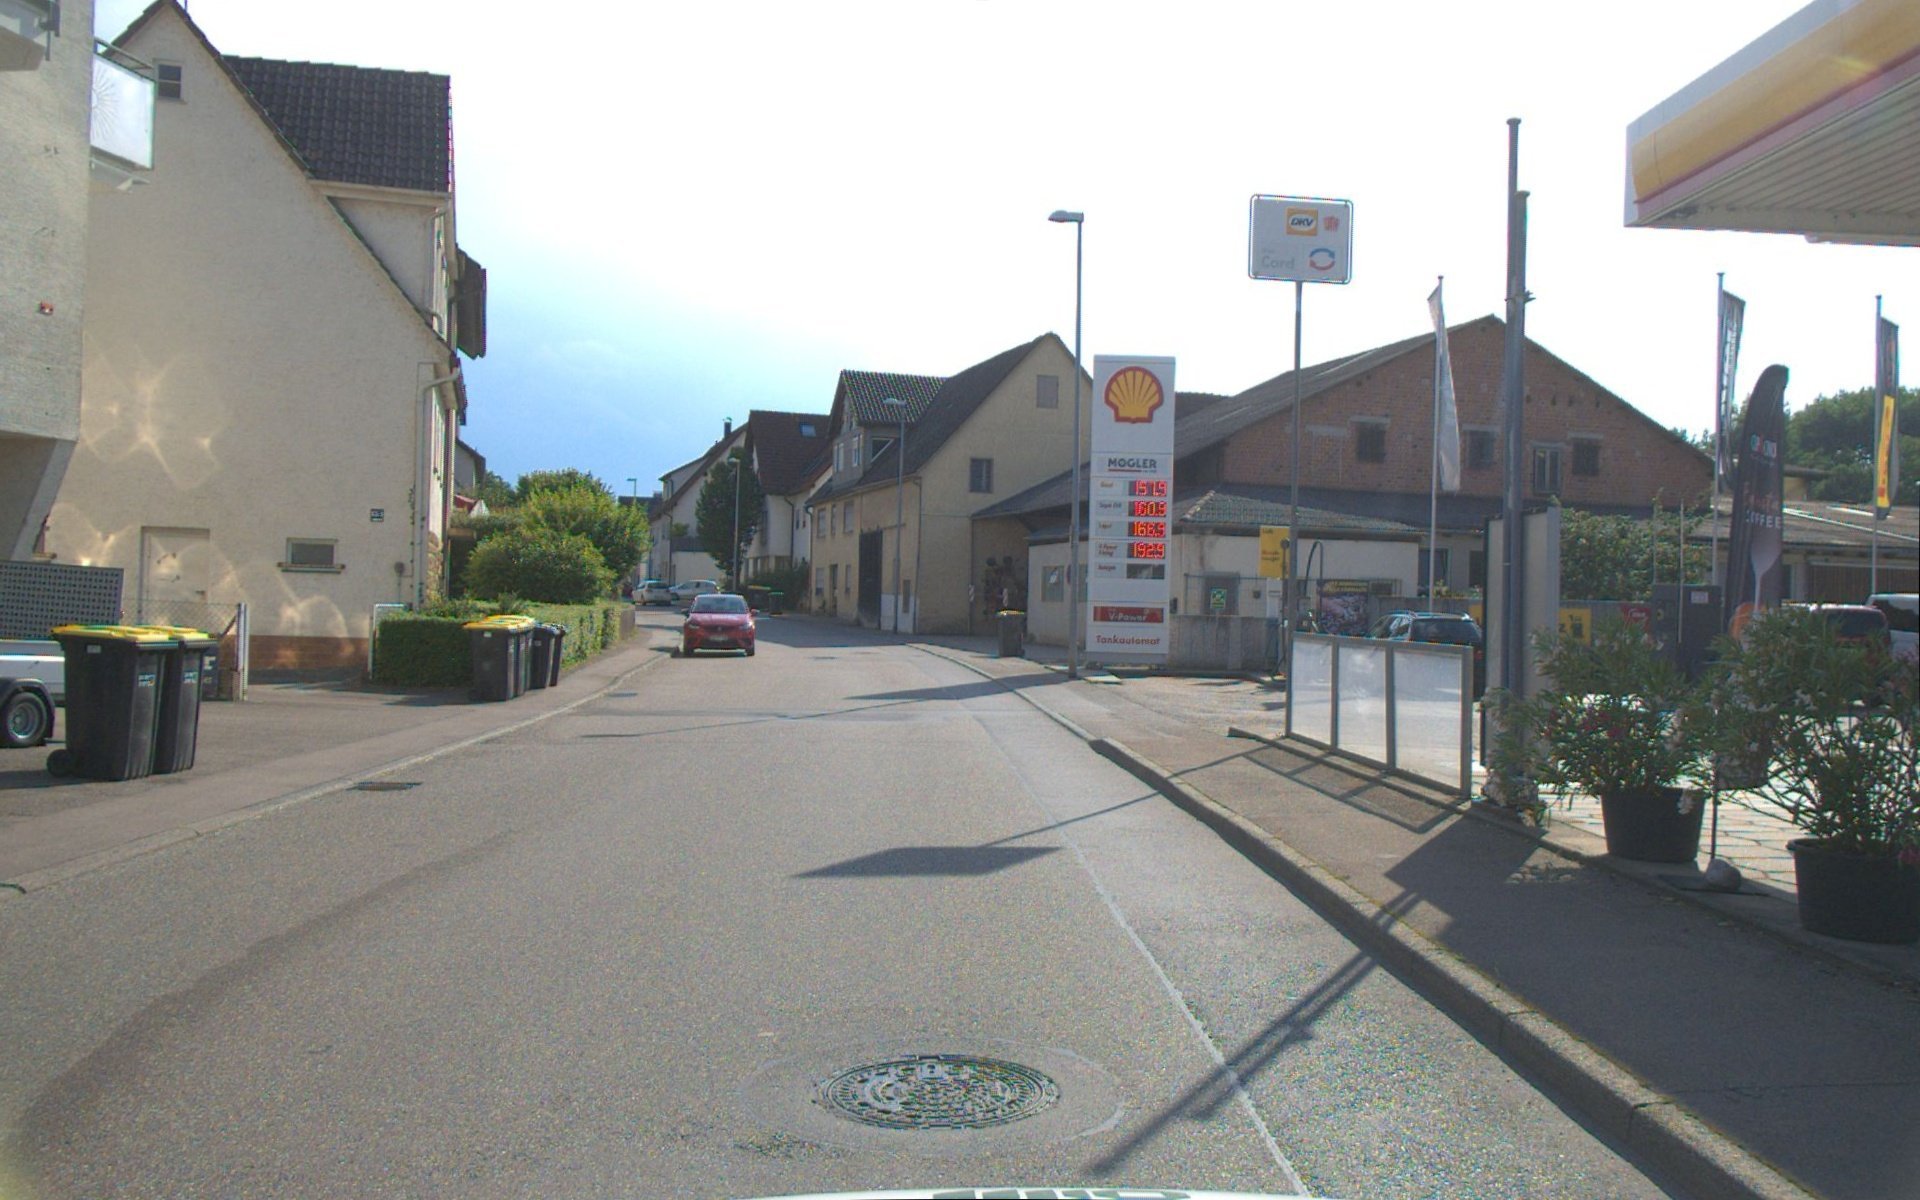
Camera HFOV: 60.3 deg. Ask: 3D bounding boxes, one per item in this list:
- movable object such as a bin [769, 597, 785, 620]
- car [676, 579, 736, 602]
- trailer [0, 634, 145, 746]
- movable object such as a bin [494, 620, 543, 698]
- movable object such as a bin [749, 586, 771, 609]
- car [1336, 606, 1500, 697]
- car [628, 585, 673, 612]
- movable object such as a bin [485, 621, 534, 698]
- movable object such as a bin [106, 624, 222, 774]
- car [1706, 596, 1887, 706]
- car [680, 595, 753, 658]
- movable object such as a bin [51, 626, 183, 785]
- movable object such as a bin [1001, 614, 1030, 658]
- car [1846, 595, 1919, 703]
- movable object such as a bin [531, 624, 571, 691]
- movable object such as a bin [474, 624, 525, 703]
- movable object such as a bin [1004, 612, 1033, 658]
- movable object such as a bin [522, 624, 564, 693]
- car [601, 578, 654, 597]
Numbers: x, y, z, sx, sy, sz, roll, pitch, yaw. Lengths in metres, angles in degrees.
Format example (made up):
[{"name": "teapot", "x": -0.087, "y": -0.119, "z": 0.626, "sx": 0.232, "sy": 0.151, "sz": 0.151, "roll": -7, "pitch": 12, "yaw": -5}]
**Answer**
[{"name": "movable object such as a bin", "x": -8.806, "y": 0.419, "z": 79.571, "sx": 0.642, "sy": 1.092, "sz": 0.510, "roll": 1, "pitch": 0, "yaw": -17}, {"name": "car", "x": -16.858, "y": -0.625, "z": 109.742, "sx": 3.915, "sy": 1.376, "sz": 1.706, "roll": 1, "pitch": 0, "yaw": -11}, {"name": "trailer", "x": -8.407, "y": 0.722, "z": 13.724, "sx": 1.302, "sy": 0.870, "sz": 2.893, "roll": 3, "pitch": -2, "yaw": 15}, {"name": "movable object such as a bin", "x": -6.592, "y": 0.872, "z": 24.690, "sx": 0.576, "sy": 1.141, "sz": 0.617, "roll": 0, "pitch": 0, "yaw": -2}, {"name": "movable object such as a bin", "x": -10.812, "y": -0.149, "z": 89.423, "sx": 1.141, "sy": 1.189, "sz": 0.653, "roll": 1, "pitch": 0, "yaw": -14}, {"name": "car", "x": 8.242, "y": 0.879, "z": 30.137, "sx": 1.546, "sy": 1.452, "sz": 4.378, "roll": 2, "pitch": 0, "yaw": -3}, {"name": "car", "x": -18.669, "y": -0.102, "z": 99.709, "sx": 1.684, "sy": 1.606, "sz": 3.968, "roll": 1, "pitch": 0, "yaw": -25}, {"name": "movable object such as a bin", "x": -6.564, "y": 0.861, "z": 24.097, "sx": 0.576, "sy": 1.103, "sz": 0.529, "roll": 0, "pitch": 0, "yaw": -2}, {"name": "movable object such as a bin", "x": -6.142, "y": 0.752, "z": 12.779, "sx": 0.558, "sy": 1.089, "sz": 0.557, "roll": 4, "pitch": 0, "yaw": -2}, {"name": "car", "x": 15.283, "y": 0.879, "z": 30.415, "sx": 1.545, "sy": 1.823, "sz": 3.632, "roll": 1, "pitch": 1, "yaw": 1}, {"name": "car", "x": -6.001, "y": 0.633, "z": 40.597, "sx": 1.677, "sy": 1.460, "sz": 3.772, "roll": 0, "pitch": 0, "yaw": -9}, {"name": "movable object such as a bin", "x": -6.182, "y": 0.759, "z": 12.153, "sx": 0.587, "sy": 1.089, "sz": 0.618, "roll": 4, "pitch": 0, "yaw": -2}, {"name": "movable object such as a bin", "x": 1.380, "y": 0.897, "z": 41.358, "sx": 0.640, "sy": 1.092, "sz": 0.512, "roll": 1, "pitch": 0, "yaw": -5}, {"name": "car", "x": 18.461, "y": 0.923, "z": 30.800, "sx": 1.545, "sy": 1.957, "sz": 4.554, "roll": 1, "pitch": 1, "yaw": 1}, {"name": "movable object such as a bin", "x": -6.387, "y": 0.893, "z": 25.840, "sx": 0.521, "sy": 1.040, "sz": 0.457, "roll": 0, "pitch": 0, "yaw": -2}, {"name": "movable object such as a bin", "x": -6.547, "y": 0.894, "z": 23.530, "sx": 0.576, "sy": 1.103, "sz": 0.508, "roll": 0, "pitch": 0, "yaw": -2}, {"name": "movable object such as a bin", "x": 1.436, "y": 0.860, "z": 40.795, "sx": 0.640, "sy": 1.092, "sz": 0.512, "roll": 1, "pitch": 0, "yaw": -5}, {"name": "movable object such as a bin", "x": -6.391, "y": 0.889, "z": 25.355, "sx": 0.521, "sy": 1.040, "sz": 0.457, "roll": 0, "pitch": 0, "yaw": -2}, {"name": "car", "x": -25.757, "y": -0.940, "z": 128.169, "sx": 3.923, "sy": 1.376, "sz": 1.703, "roll": 1, "pitch": 0, "yaw": -17}]
